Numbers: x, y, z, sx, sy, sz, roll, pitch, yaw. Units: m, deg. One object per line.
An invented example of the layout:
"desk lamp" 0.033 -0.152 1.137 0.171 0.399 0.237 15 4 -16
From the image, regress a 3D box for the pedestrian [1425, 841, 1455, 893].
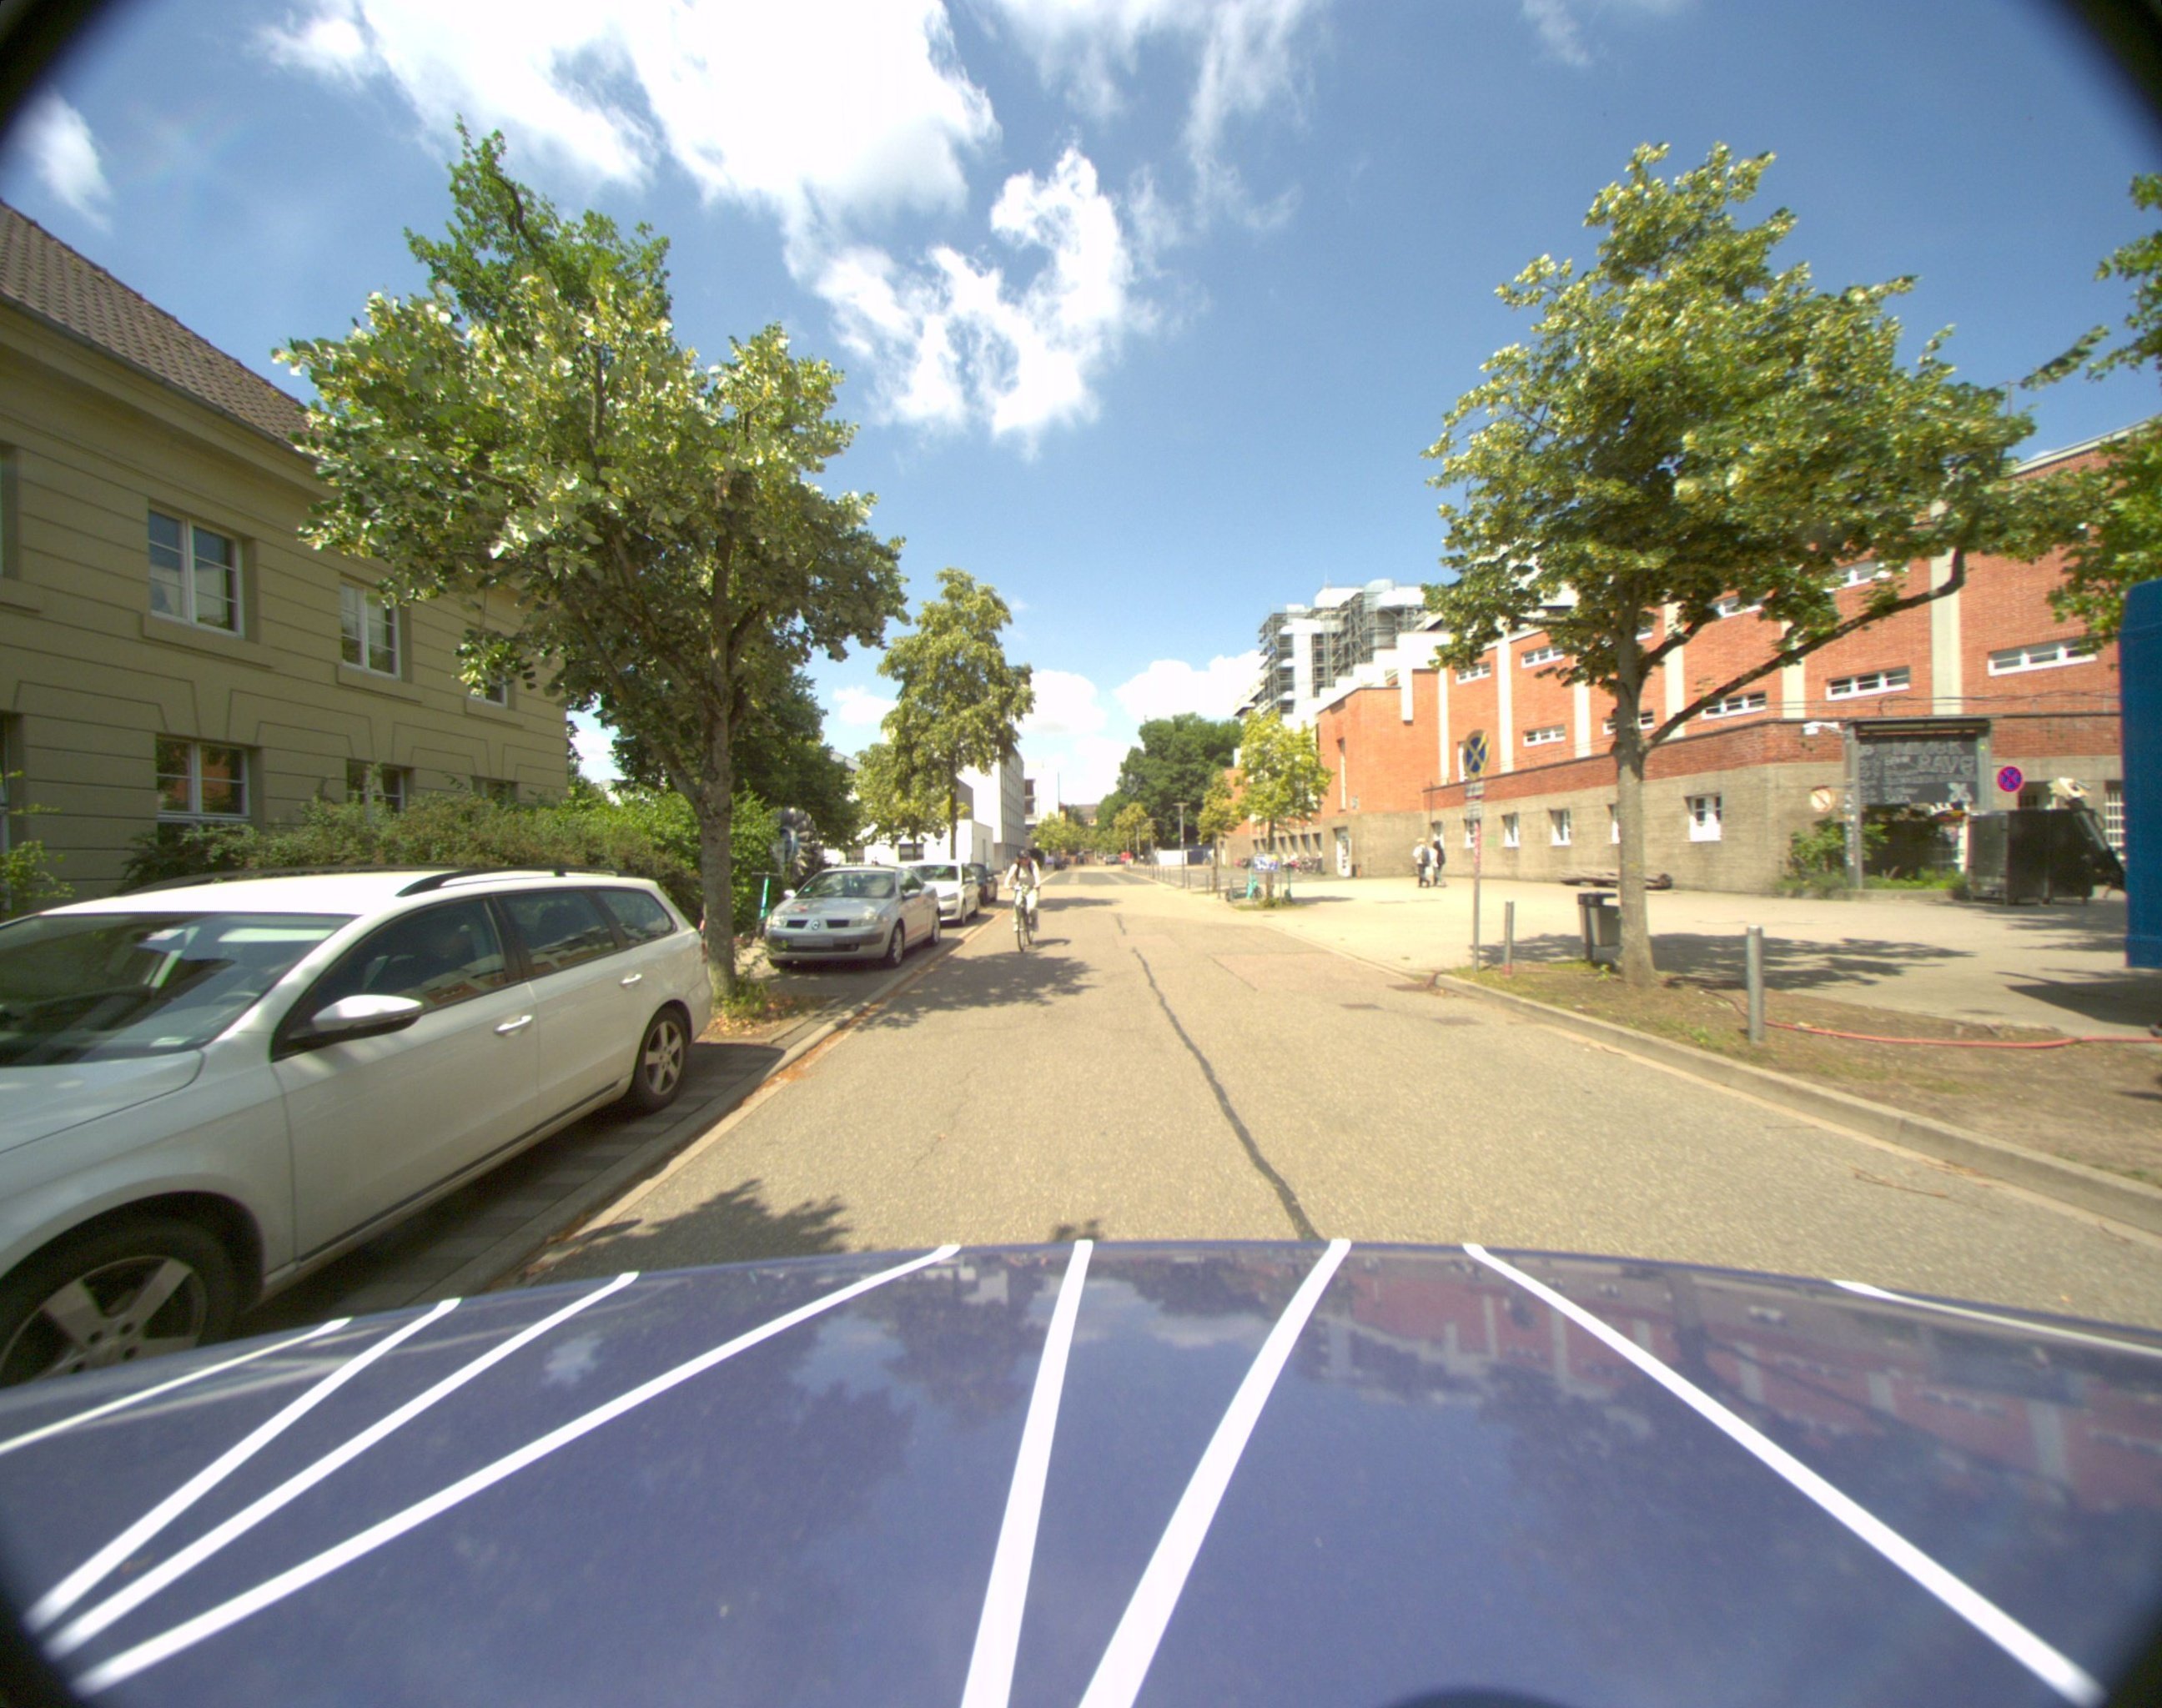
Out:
"pedestrian" 12.562 0.430 26.573 0.577 1.769 0.917 -2 1 -1

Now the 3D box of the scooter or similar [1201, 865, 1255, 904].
"scooter or similar" 4.658 0.963 24.080 1.571 1.218 0.525 -1 1 27

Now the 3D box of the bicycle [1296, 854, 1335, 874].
"bicycle" 13.494 0.579 43.680 2.027 1.119 0.667 -1 0 -1

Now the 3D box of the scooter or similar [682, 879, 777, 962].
"scooter or similar" -5.688 1.036 12.335 0.595 1.259 1.269 -1 -1 37

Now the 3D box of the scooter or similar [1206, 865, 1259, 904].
"scooter or similar" 4.925 0.995 24.732 1.571 1.218 0.566 -1 1 27

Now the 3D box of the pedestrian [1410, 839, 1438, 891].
"pedestrian" 11.955 0.373 26.480 0.564 1.752 0.805 -2 1 -1

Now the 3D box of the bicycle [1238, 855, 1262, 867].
"bicycle" 14.351 0.593 64.500 1.955 1.024 0.518 -1 1 -1

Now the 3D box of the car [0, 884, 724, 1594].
"car" -3.342 0.945 3.028 1.730 1.458 4.671 0 0 -2

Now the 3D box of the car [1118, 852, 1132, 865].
"car" 6.940 0.697 120.312 1.912 1.870 4.002 -2 0 7

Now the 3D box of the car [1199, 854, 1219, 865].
"car" 14.901 0.654 88.619 2.288 1.173 0.524 -1 1 2

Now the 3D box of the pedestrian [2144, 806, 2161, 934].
"pedestrian" 15.460 0.234 10.528 0.448 1.810 0.882 0 3 28

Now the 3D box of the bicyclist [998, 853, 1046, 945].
"bicyclist" -0.991 0.744 12.992 0.675 1.470 1.062 -1 2 2

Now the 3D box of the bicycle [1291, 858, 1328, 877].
"bicycle" 13.729 0.812 45.599 2.026 1.119 0.592 -1 1 1

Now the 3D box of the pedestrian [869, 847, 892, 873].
"pedestrian" -14.466 0.434 54.798 1.168 1.789 1.023 0 0 29

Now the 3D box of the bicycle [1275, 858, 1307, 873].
"bicycle" 14.230 0.780 51.544 1.955 0.954 0.684 -1 0 -1

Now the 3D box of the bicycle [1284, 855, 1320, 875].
"bicycle" 13.528 0.649 46.442 2.026 1.119 0.439 -3 0 4

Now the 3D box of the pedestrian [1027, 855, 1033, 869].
"pedestrian" -5.123 0.814 76.561 0.525 1.430 0.701 -1 0 3

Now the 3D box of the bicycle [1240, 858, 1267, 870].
"bicycle" 13.772 0.779 60.691 1.955 0.935 0.569 -1 0 -1

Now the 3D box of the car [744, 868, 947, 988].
"car" -3.254 0.953 11.337 1.650 1.382 3.989 -1 0 2

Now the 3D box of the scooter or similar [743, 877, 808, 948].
"scooter or similar" -5.680 1.067 14.194 0.521 1.214 1.237 0 0 10

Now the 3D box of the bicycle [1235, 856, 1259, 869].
"bicycle" 14.288 0.711 65.364 1.955 1.024 0.542 -1 1 -1

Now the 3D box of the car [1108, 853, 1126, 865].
"car" 6.958 0.956 146.559 2.023 2.079 4.439 -2 0 21

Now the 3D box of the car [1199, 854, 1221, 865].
"car" 14.782 0.640 87.020 2.368 1.173 0.794 -1 0 2

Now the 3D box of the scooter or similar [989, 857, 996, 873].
"scooter or similar" -6.968 0.892 59.673 0.327 1.228 1.073 -1 0 3

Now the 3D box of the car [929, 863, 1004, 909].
"car" -3.608 0.970 24.564 1.712 1.273 4.000 -1 0 1

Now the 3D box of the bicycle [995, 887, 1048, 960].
"bicycle" -0.993 1.160 13.180 0.675 1.066 2.136 -1 0 2

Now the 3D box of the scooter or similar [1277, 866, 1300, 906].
"scooter or similar" 6.323 0.954 23.192 0.564 1.142 1.351 -1 1 12

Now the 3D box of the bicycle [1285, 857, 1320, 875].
"bicycle" 14.005 0.754 47.985 2.015 1.076 0.621 -1 0 -1

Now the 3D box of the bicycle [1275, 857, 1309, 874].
"bicycle" 13.775 0.759 49.657 2.027 1.055 0.663 -1 0 -1

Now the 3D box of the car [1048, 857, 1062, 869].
"car" -3.124 1.044 91.103 1.552 1.377 3.453 -1 0 -2

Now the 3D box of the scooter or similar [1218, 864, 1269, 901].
"scooter or similar" 5.470 0.952 25.646 1.571 1.218 0.571 -1 1 27

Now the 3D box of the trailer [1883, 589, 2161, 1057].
"trailer" 8.301 -0.241 3.418 2.703 3.009 6.266 -2 0 0

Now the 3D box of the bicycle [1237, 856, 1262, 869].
"bicycle" 13.751 0.713 62.057 1.955 1.024 0.530 -1 1 -1

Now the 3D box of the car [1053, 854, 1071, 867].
"car" -2.418 0.875 99.398 1.939 1.671 3.470 -1 0 5

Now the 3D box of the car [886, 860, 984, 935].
"car" -3.236 0.907 17.531 1.591 1.458 3.988 -1 0 -2
